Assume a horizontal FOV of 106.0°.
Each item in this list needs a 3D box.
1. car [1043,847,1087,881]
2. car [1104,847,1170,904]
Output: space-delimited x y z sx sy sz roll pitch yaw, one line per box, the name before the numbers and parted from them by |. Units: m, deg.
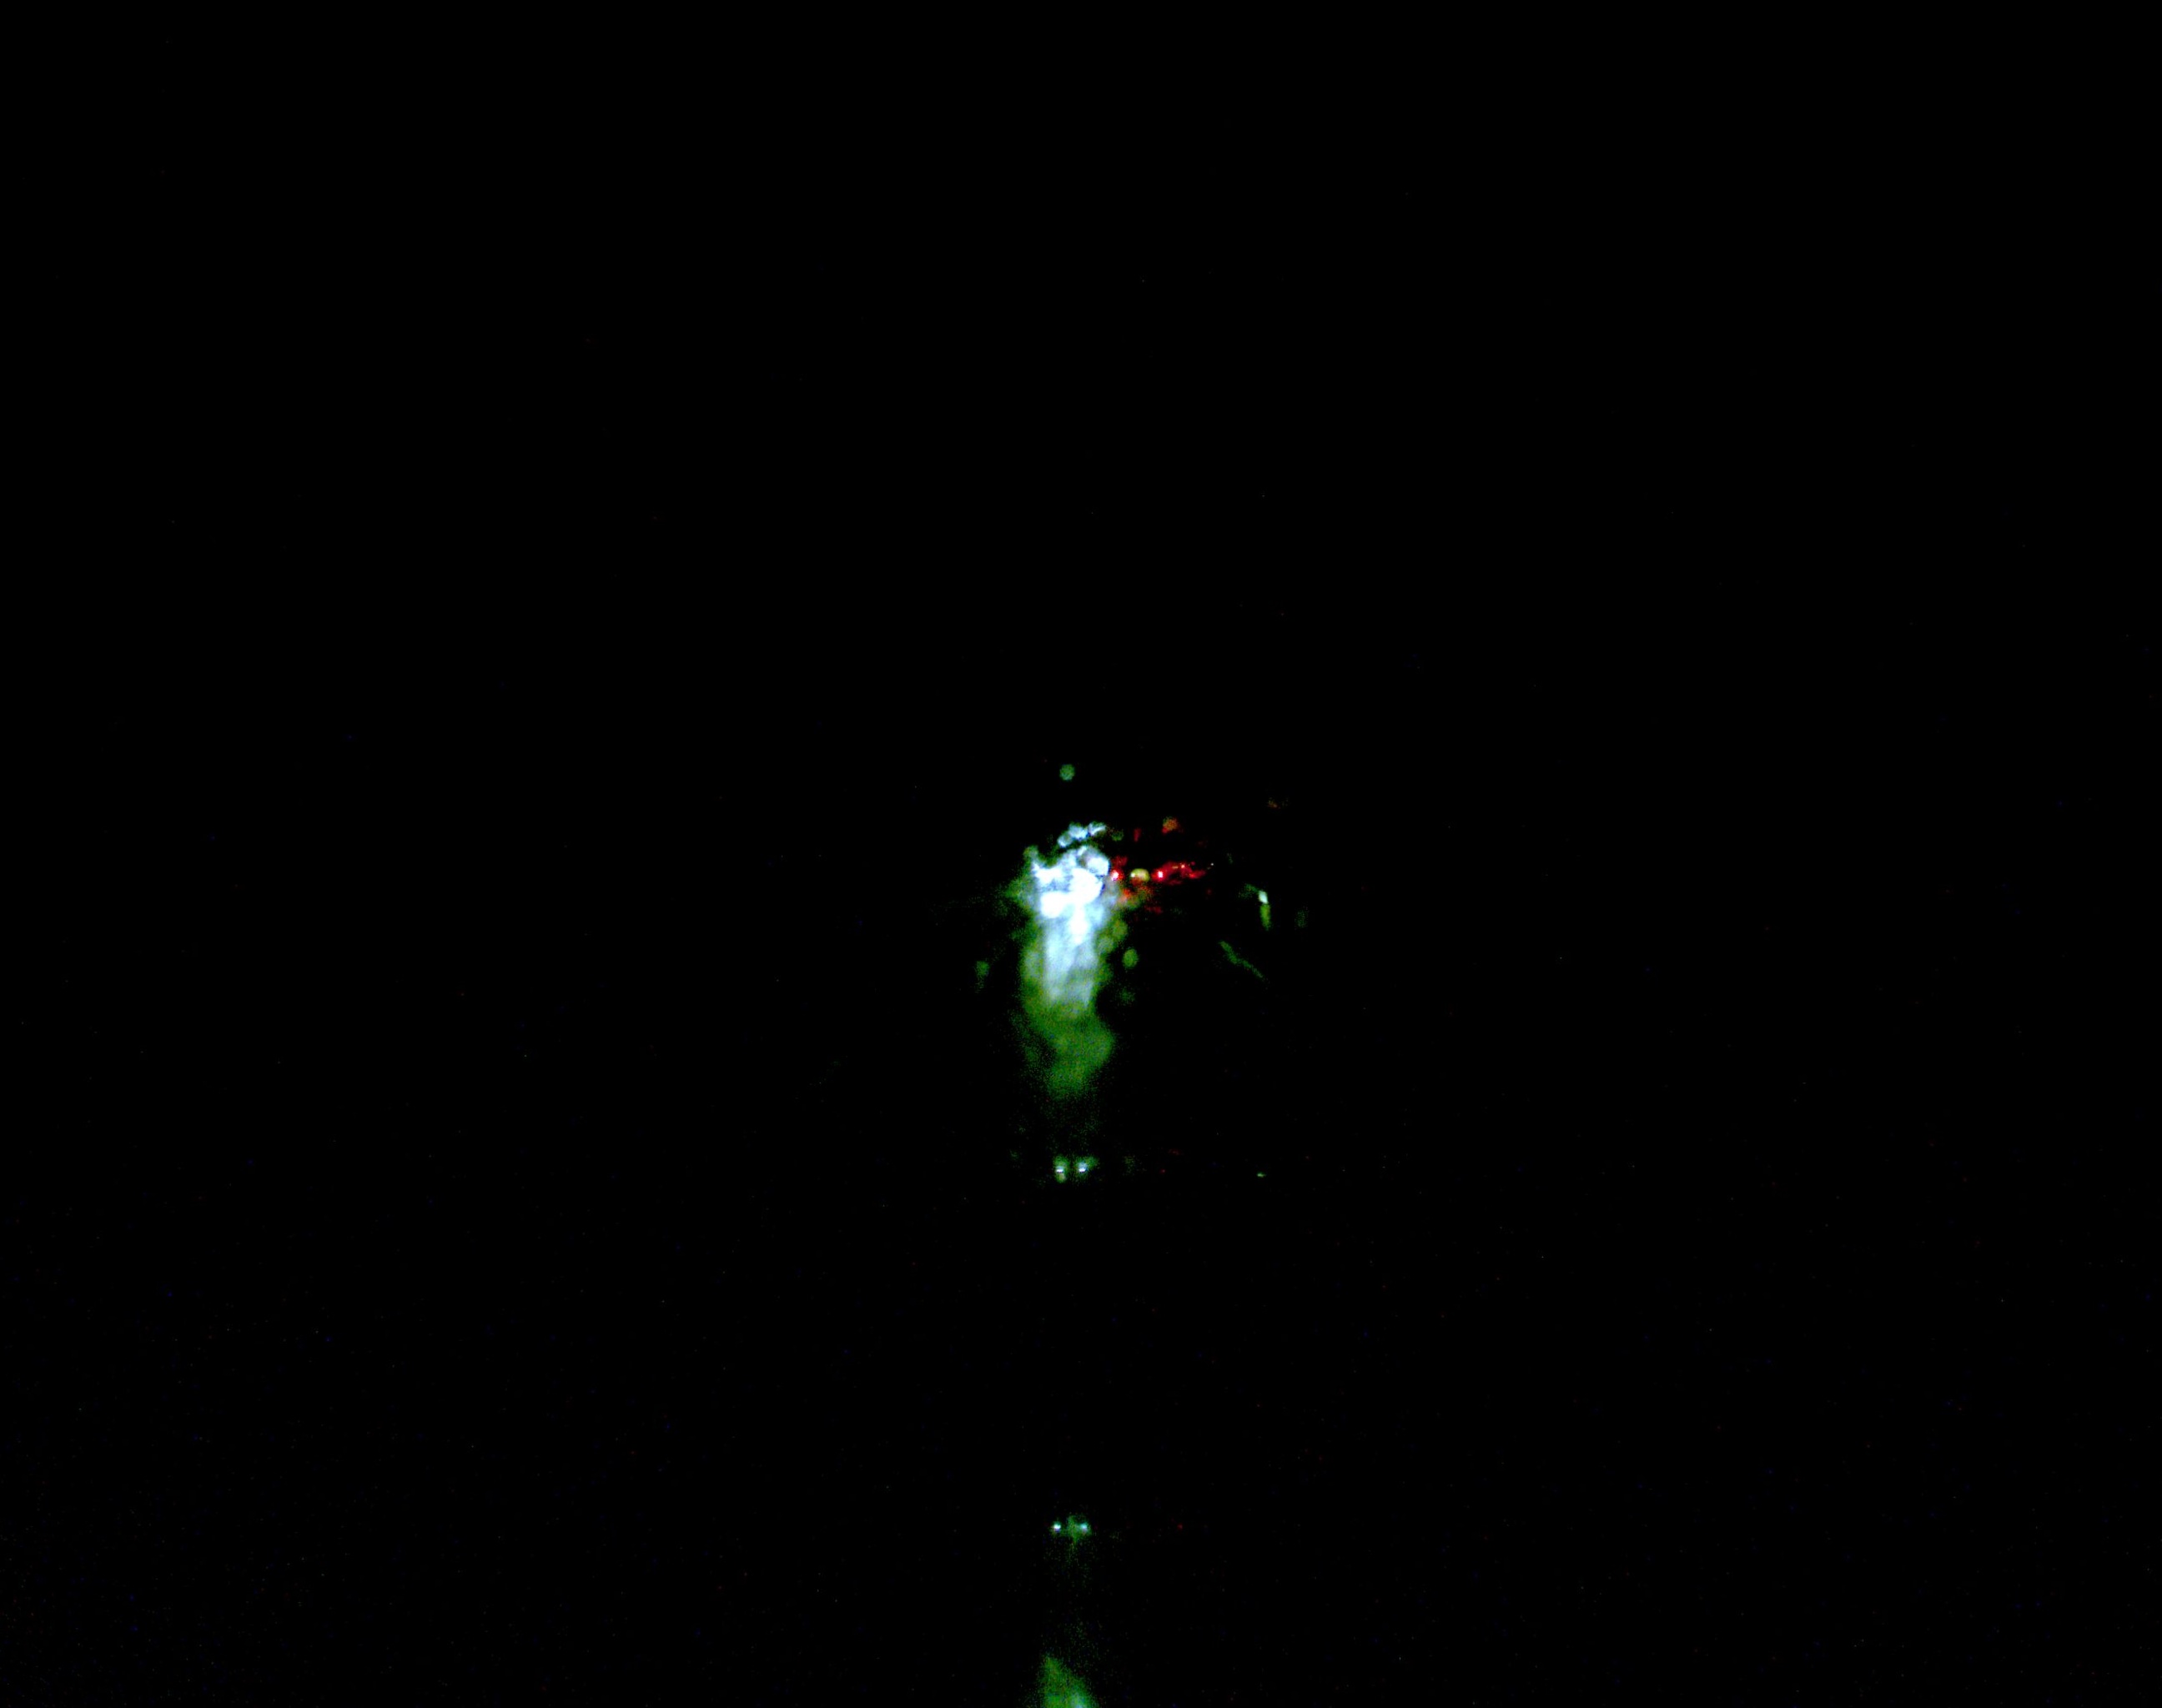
car | -0.810 0.491 43.762 1.834 1.720 3.965 -2 0 5
car | 1.977 0.736 29.831 1.988 1.807 3.916 -4 0 -1
